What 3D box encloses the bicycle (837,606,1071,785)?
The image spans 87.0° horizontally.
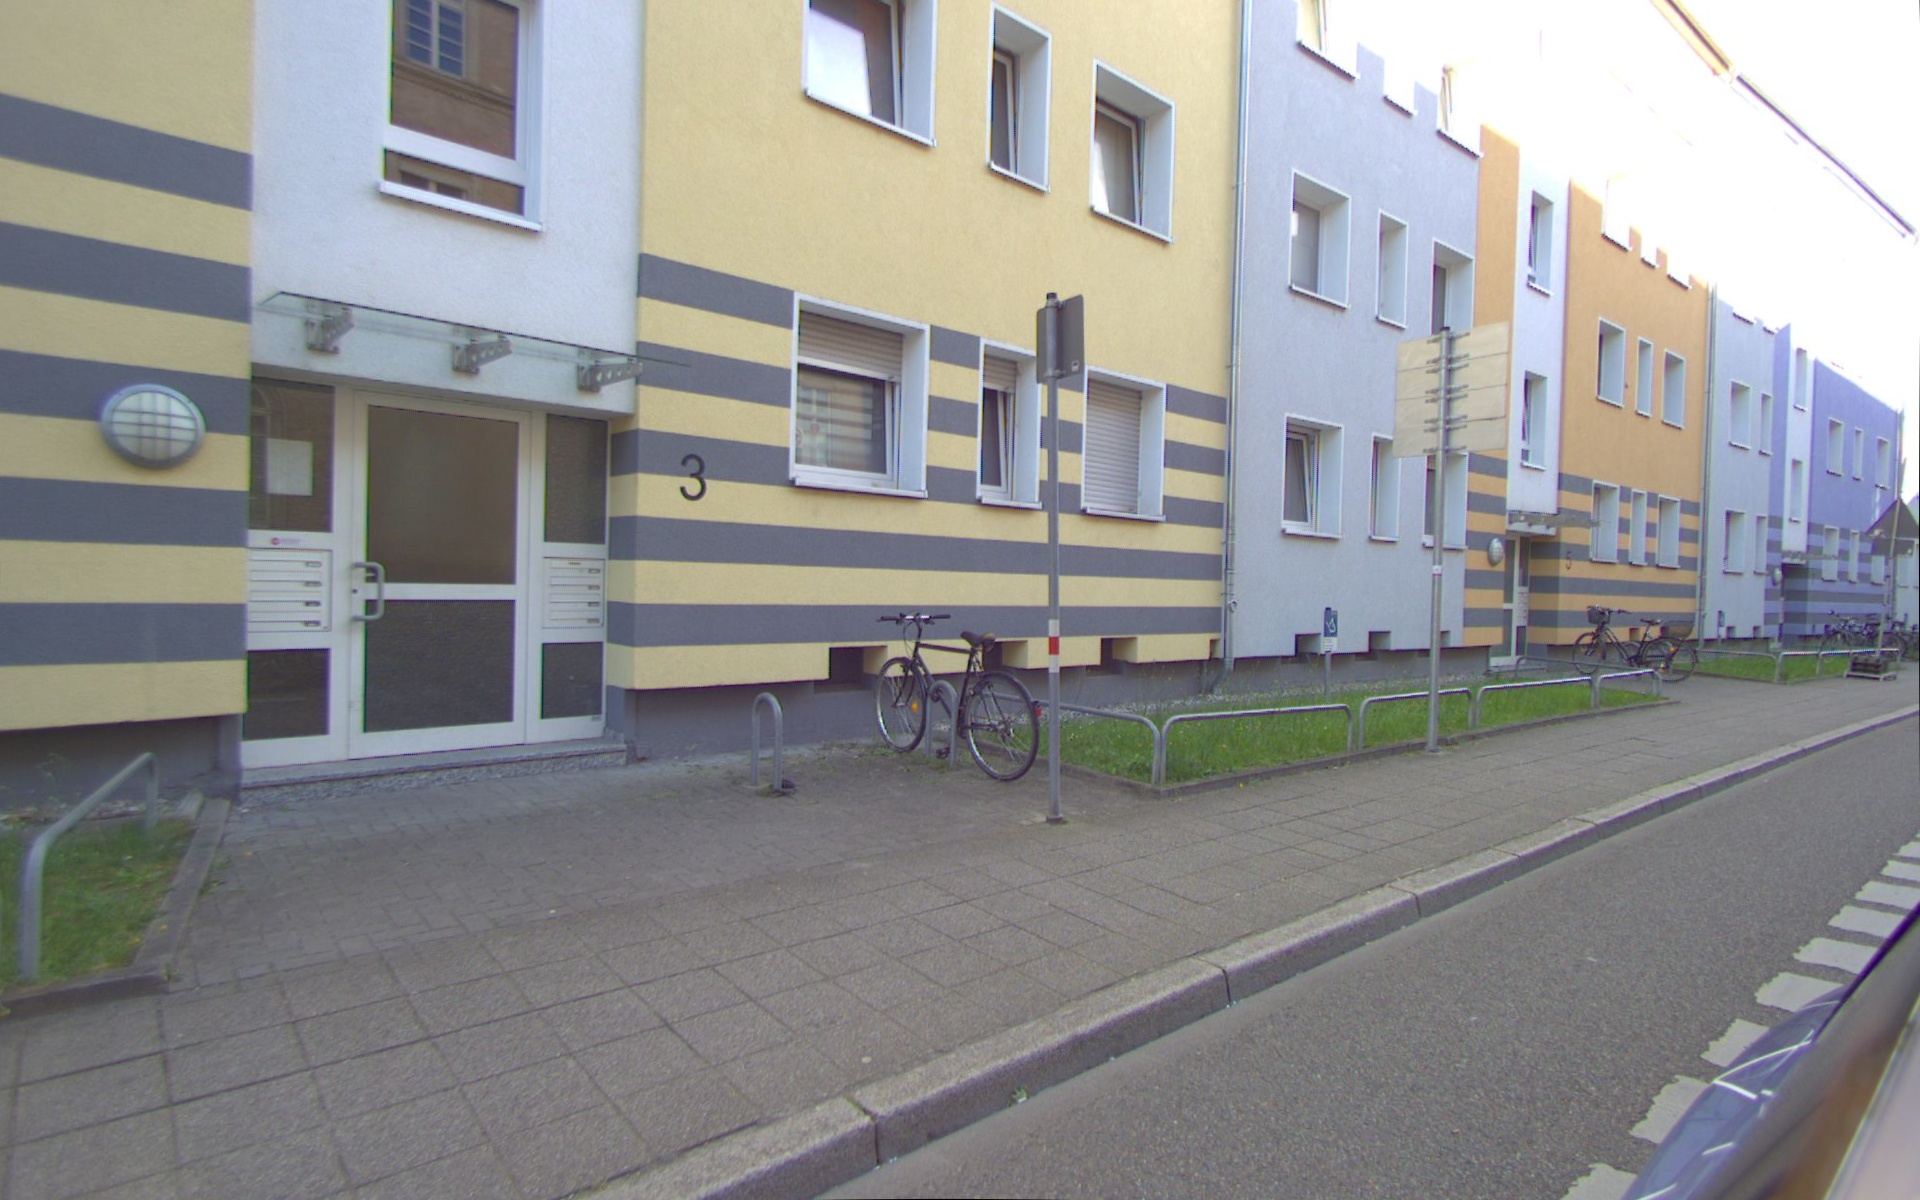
[{"bbox_3d":[-0.094,0.593,7.004,1.775,1.031,0.476,3,1,44],"label":"bicycle"}]

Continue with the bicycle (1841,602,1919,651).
[{"bbox_3d":[23.286,0.654,25.410,0.475,1.166,1.678,1,1,-37],"label":"bicycle"}]

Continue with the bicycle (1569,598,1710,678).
[{"bbox_3d":[10.667,0.570,15.934,1.775,1.137,0.476,3,1,44],"label":"bicycle"}]

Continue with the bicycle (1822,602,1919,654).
[{"bbox_3d":[22.205,0.671,24.717,0.475,1.166,1.678,1,1,-37],"label":"bicycle"}]

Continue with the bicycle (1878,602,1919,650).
[{"bbox_3d":[24.114,0.666,25.266,0.475,1.166,1.678,1,1,-37],"label":"bicycle"}]
